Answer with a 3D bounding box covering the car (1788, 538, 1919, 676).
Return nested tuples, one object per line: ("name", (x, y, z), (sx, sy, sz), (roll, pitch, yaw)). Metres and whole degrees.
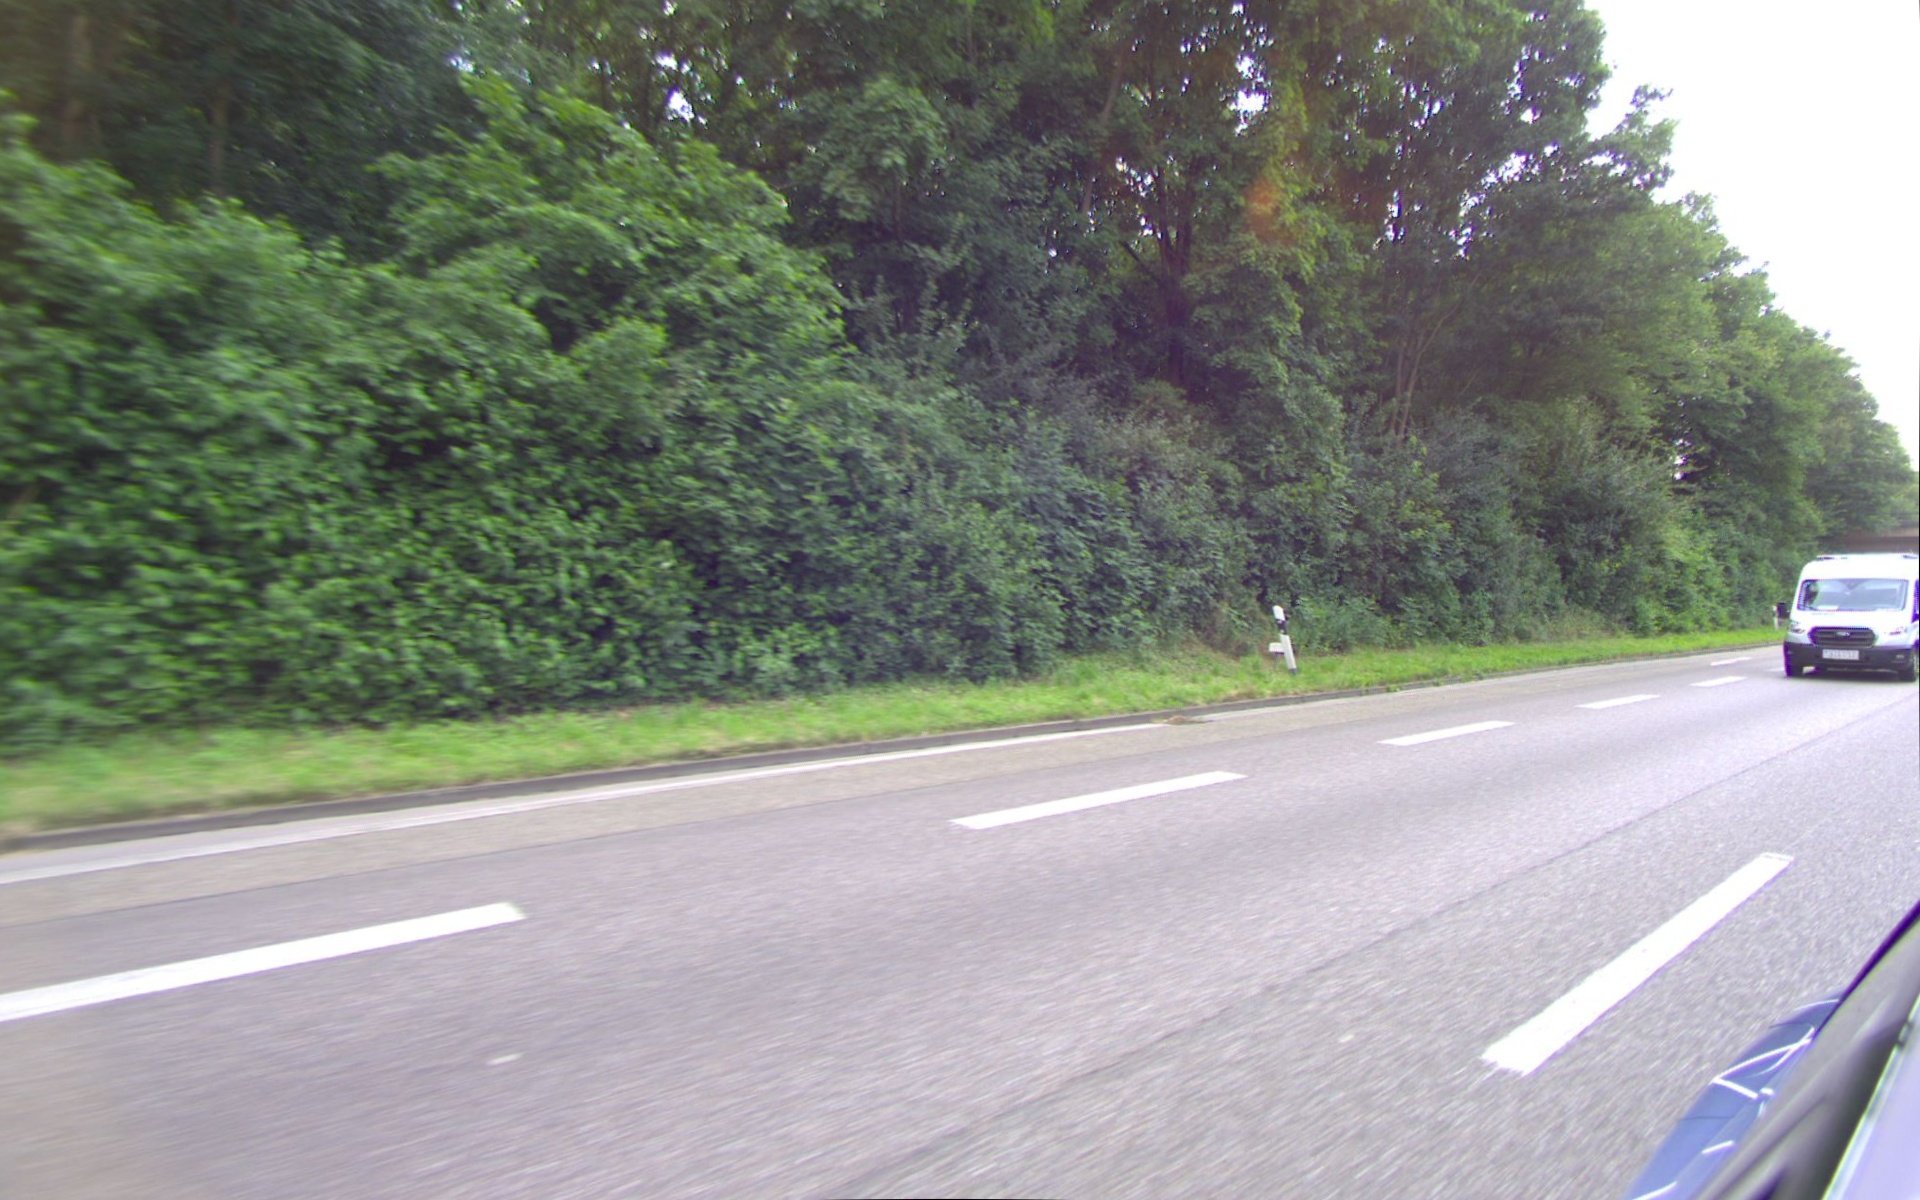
("car", (19.084, 0.126, 20.989), (5.186, 2.539, 2.102), (0, 0, -41))
